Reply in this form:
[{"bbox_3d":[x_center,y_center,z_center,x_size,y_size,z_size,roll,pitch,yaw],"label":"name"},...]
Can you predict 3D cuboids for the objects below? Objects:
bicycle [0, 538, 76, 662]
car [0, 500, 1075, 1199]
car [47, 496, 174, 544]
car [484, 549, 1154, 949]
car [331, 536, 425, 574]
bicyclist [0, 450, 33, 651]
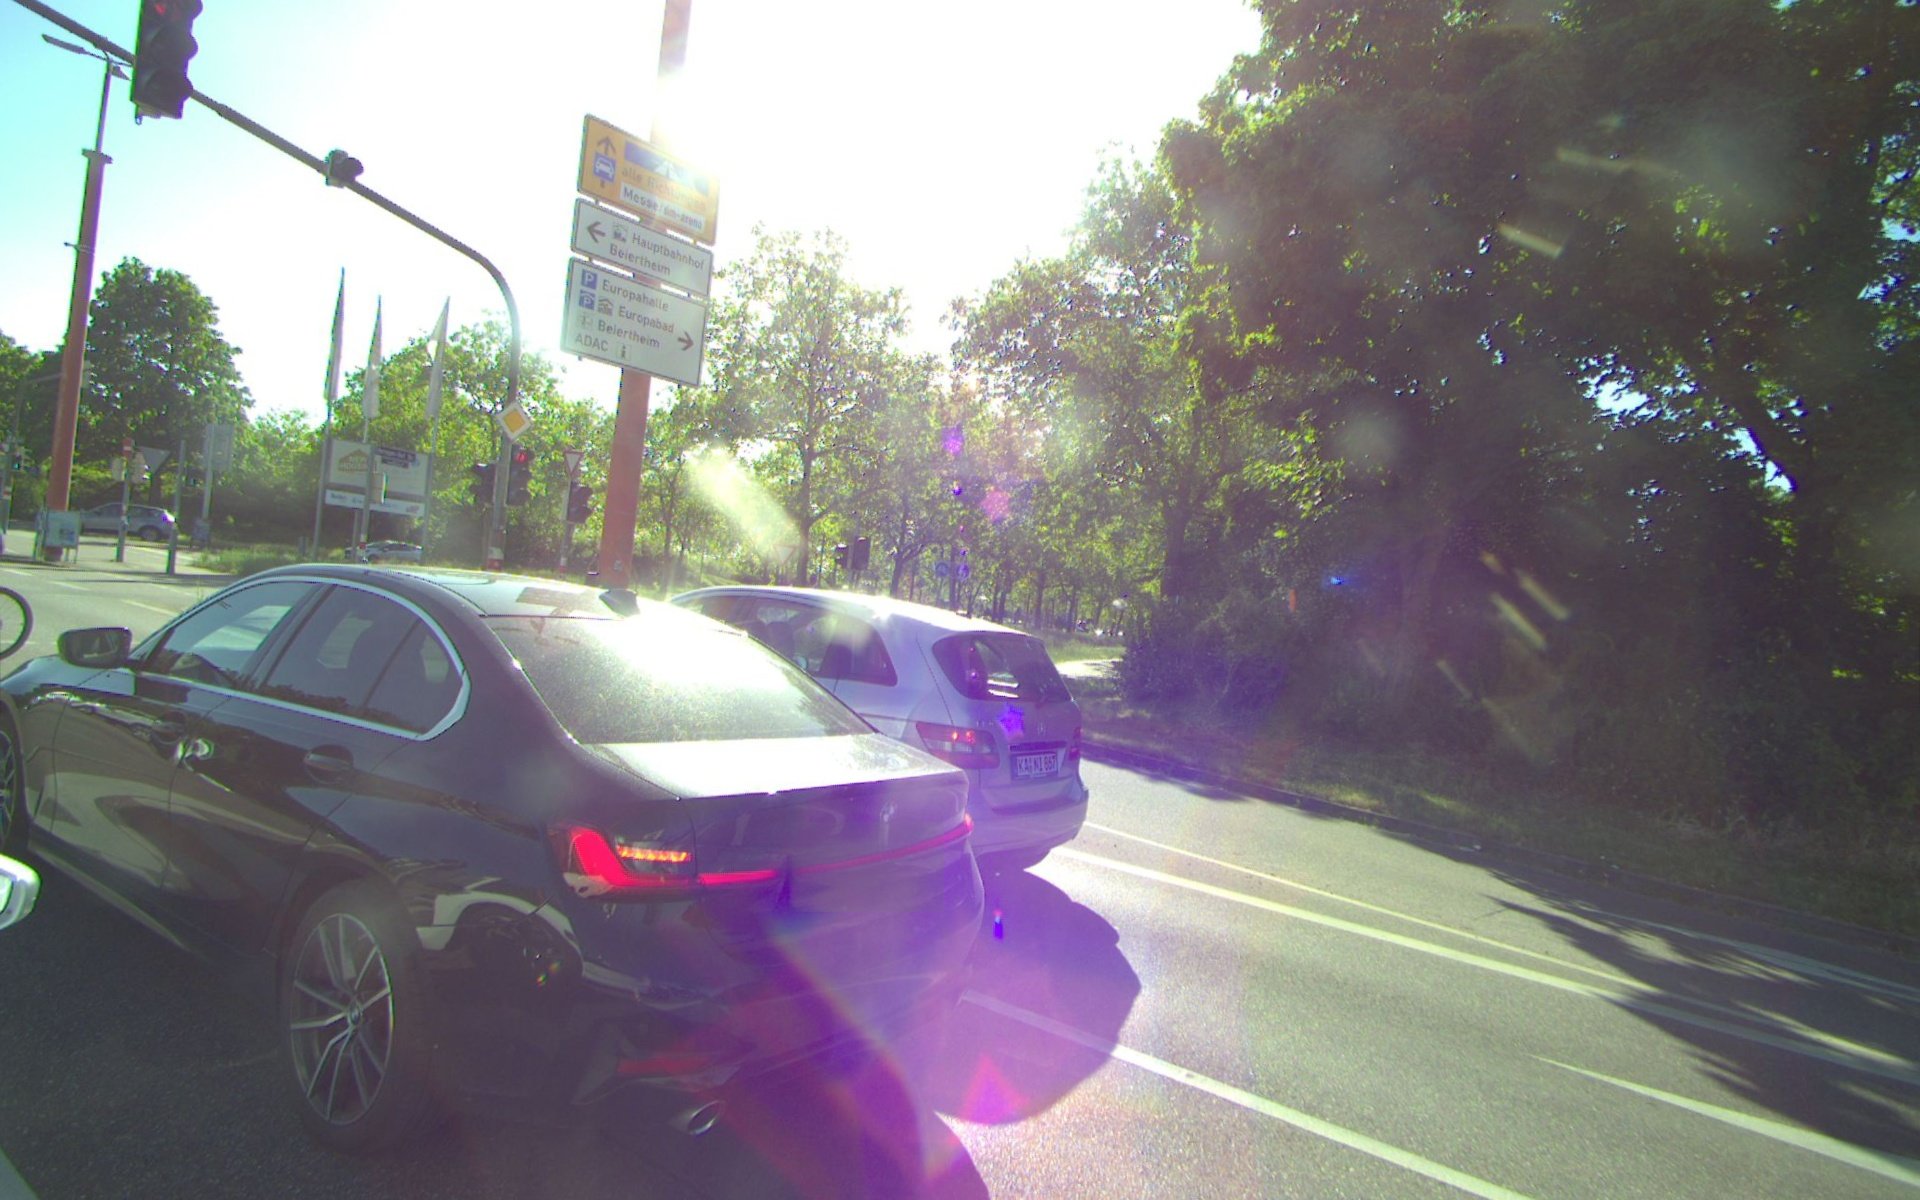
[{"bbox_3d":[-8.871,-0.038,8.620,0.709,1.070,1.833,7,-1,10],"label":"bicycle"},{"bbox_3d":[-2.004,0.544,3.827,4.371,1.415,1.871,7,0,33],"label":"car"},{"bbox_3d":[-38.919,-3.657,46.215,4.298,1.503,1.765,8,-1,-41],"label":"car"},{"bbox_3d":[-1.022,0.707,6.480,3.963,1.597,1.741,7,0,33],"label":"car"},{"bbox_3d":[-31.371,-2.399,54.349,1.658,1.485,3.983,7,-1,35],"label":"car"},{"bbox_3d":[-8.835,-0.483,8.580,0.722,1.763,0.997,7,0,10],"label":"bicyclist"}]
